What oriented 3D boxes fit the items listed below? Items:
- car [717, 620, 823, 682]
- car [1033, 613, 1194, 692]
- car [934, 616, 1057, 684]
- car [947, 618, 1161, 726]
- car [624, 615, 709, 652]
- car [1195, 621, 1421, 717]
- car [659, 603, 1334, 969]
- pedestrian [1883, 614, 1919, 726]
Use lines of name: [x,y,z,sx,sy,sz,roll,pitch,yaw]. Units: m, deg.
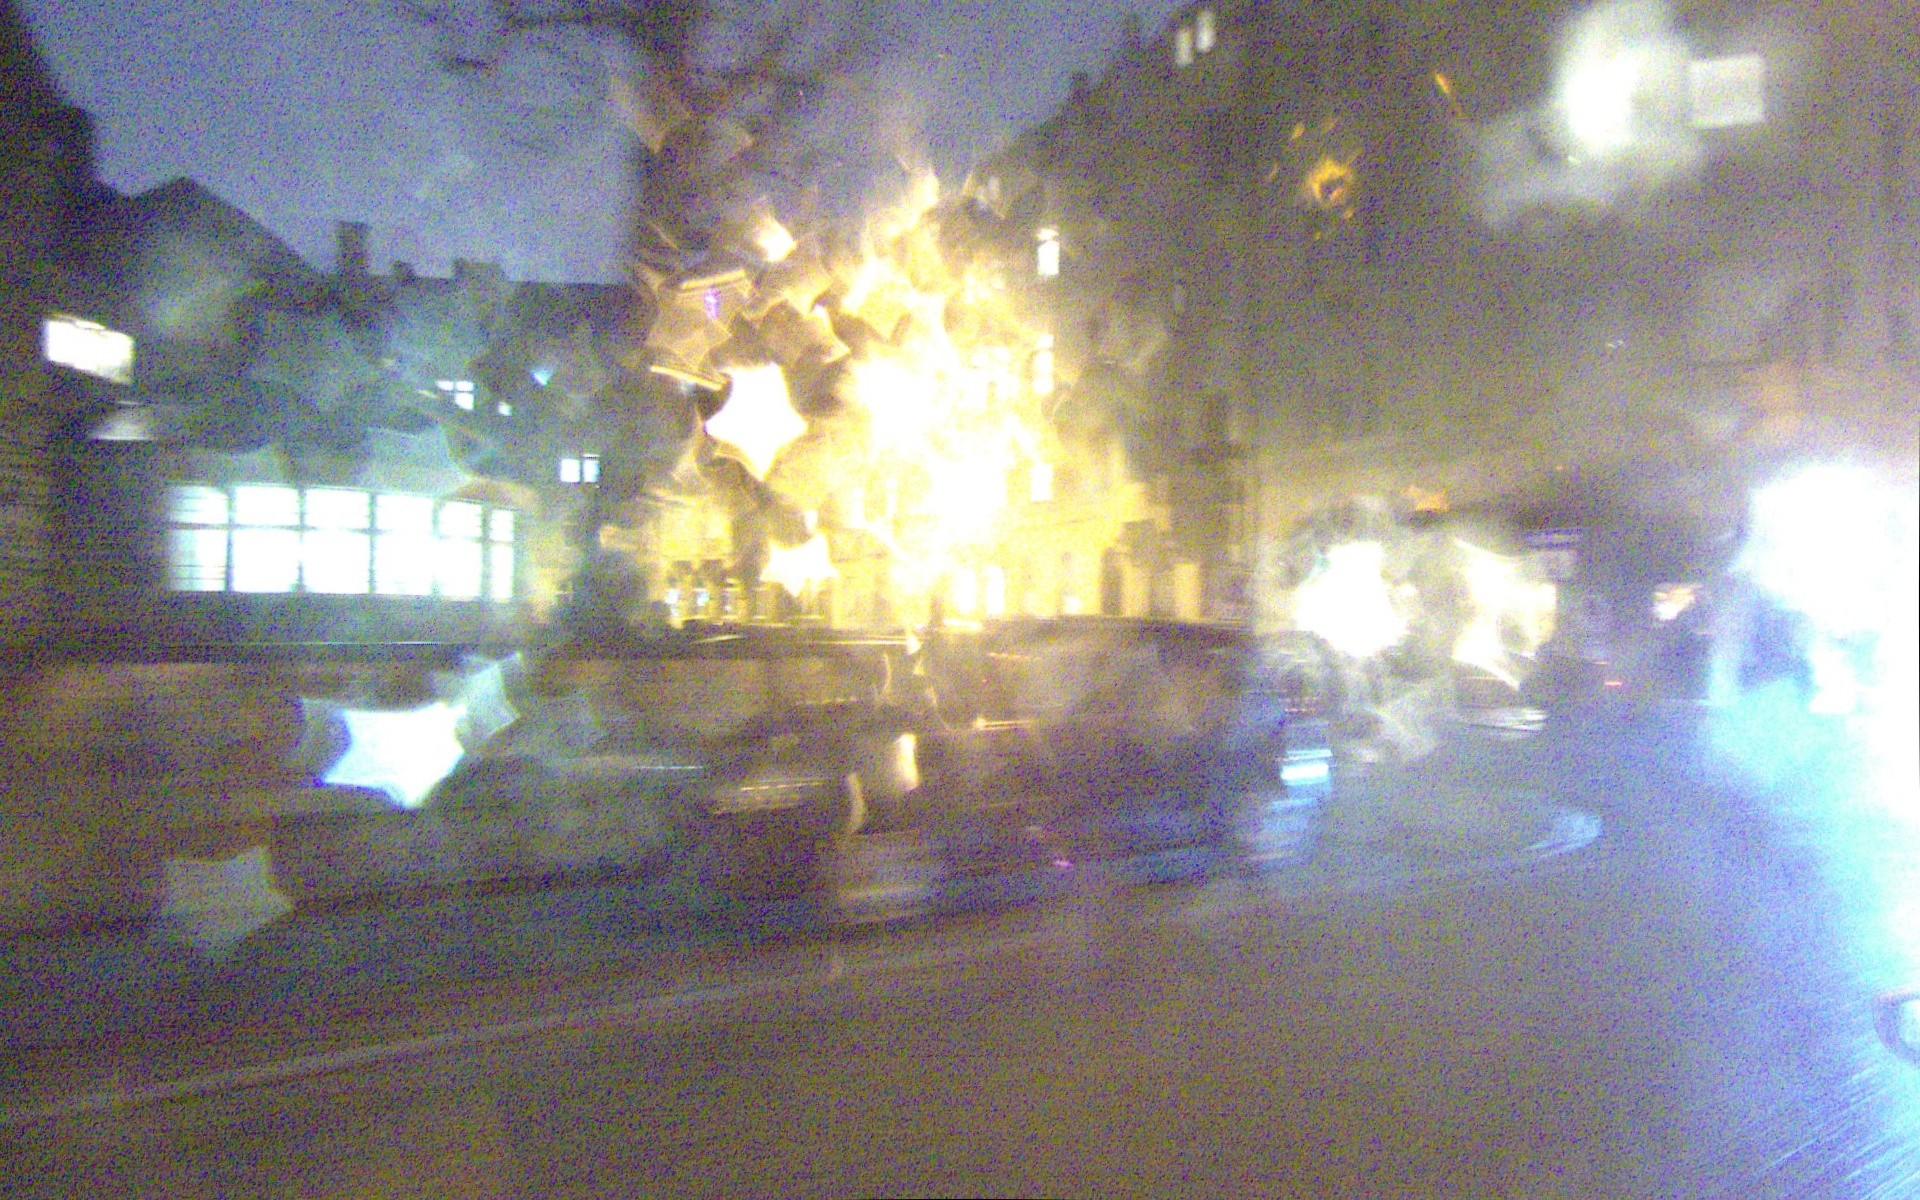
car: [-5.844,1.498,30.617,1.834,1.629,3.964,1,0,-32]
car: [3.646,1.215,24.505,1.863,1.703,3.970,1,0,-29]
car: [0.972,1.424,29.531,1.863,1.836,3.970,1,-2,-29]
car: [1.440,1.106,16.893,1.696,1.592,3.916,1,-2,-29]
car: [-14.830,1.662,50.678,4.018,1.692,1.819,1,0,30]
car: [6.578,1.248,19.423,1.769,1.559,3.970,1,0,-29]
car: [0.279,0.804,5.676,3.521,1.462,1.539,1,1,-30]
pedestrian: [15.917,1.137,16.348,0.778,1.806,1.127,1,0,-29]
